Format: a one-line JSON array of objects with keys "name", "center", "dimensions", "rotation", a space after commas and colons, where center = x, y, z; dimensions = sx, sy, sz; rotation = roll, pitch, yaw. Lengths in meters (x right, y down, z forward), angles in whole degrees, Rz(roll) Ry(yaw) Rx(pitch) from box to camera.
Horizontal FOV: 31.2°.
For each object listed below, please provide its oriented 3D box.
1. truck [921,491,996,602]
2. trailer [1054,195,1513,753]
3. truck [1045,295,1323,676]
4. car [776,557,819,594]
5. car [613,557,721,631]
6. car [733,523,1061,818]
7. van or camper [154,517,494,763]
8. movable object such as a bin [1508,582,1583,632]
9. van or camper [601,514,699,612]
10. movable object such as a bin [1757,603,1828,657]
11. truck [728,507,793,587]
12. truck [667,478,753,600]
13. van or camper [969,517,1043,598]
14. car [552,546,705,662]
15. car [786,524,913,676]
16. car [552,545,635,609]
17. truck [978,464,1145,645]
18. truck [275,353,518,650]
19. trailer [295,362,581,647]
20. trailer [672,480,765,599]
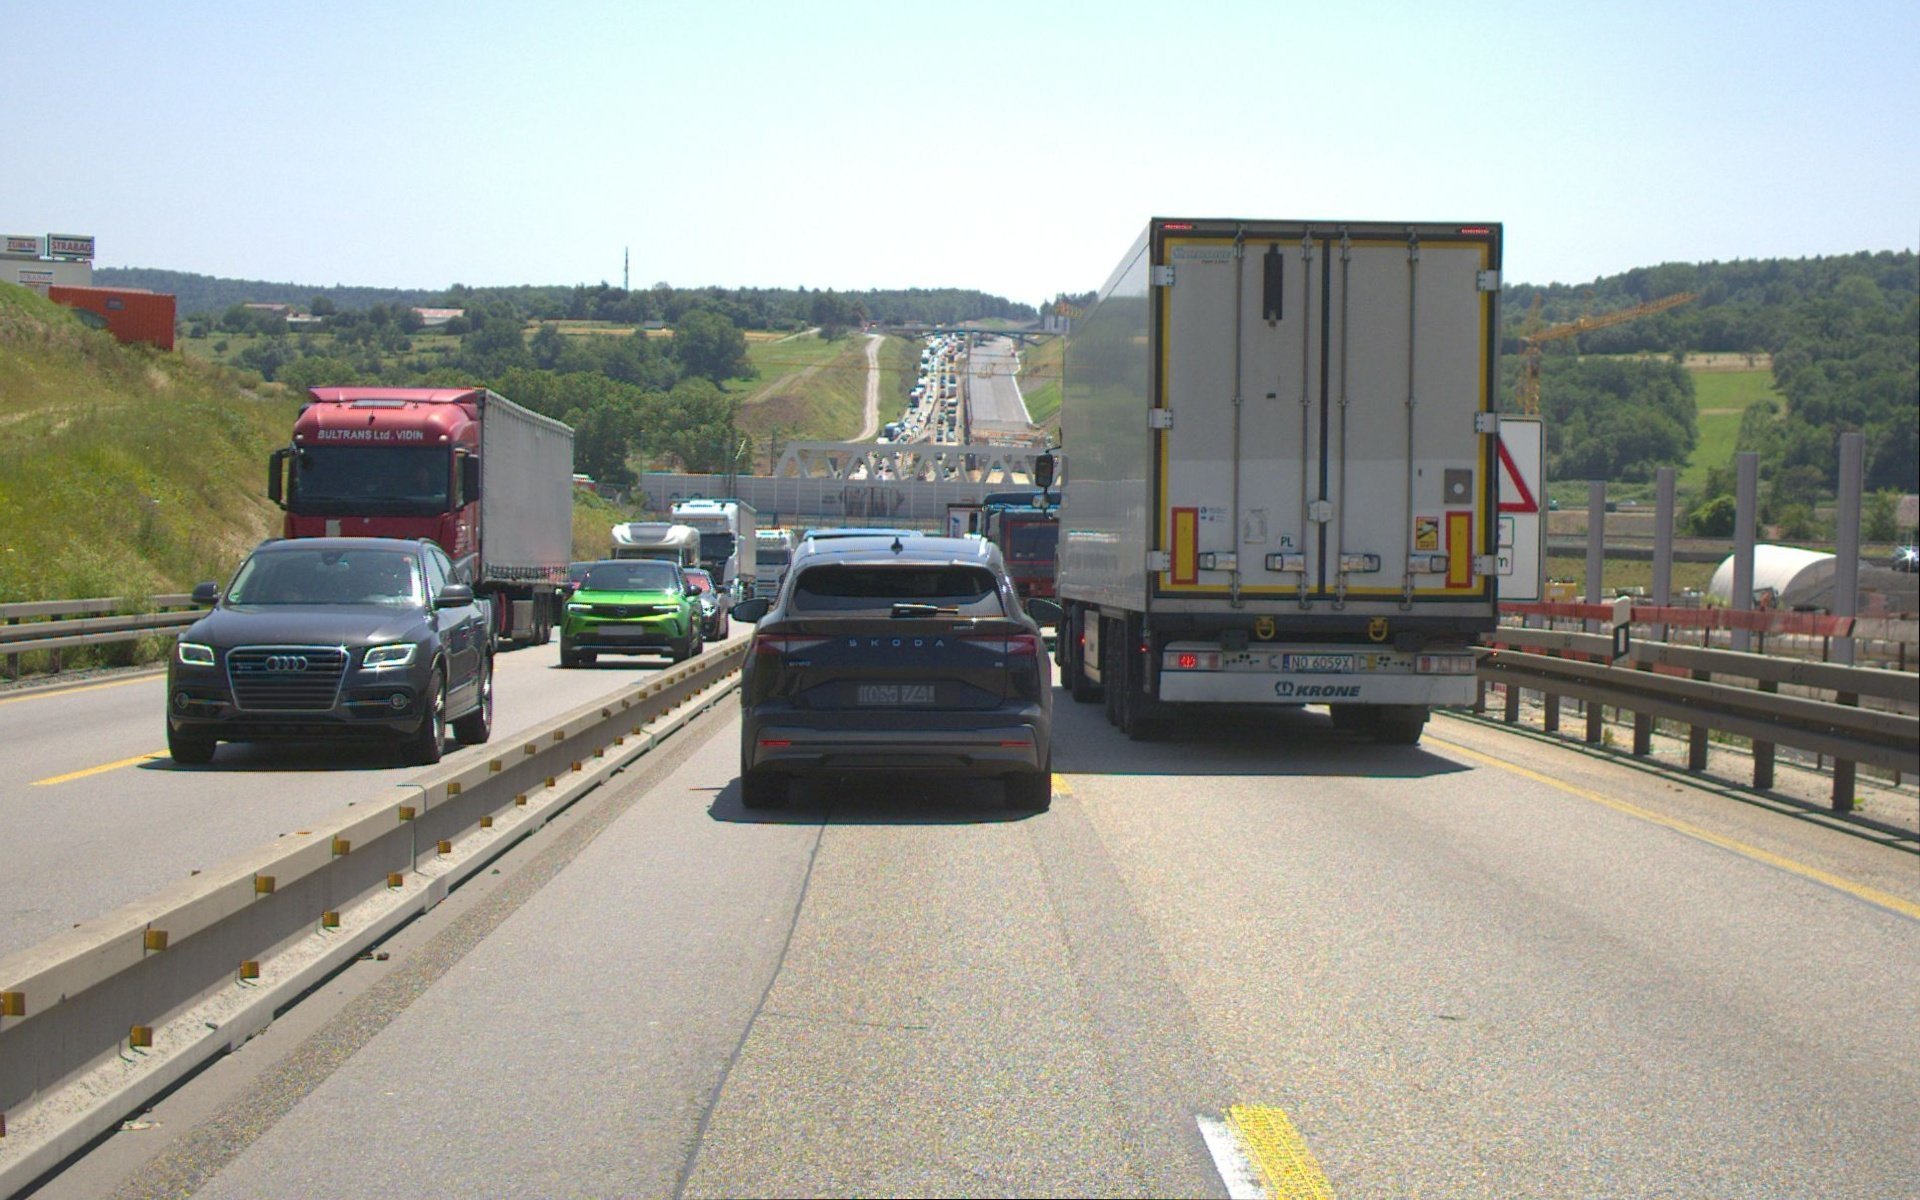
[{"name": "truck", "center": [-0.089, -1.978, 128.705], "dimensions": [2.517, 3.946, 7.600], "rotation": [2, 1, -1]}, {"name": "trailer", "center": [2.547, -0.916, 32.079], "dimensions": [2.801, 4.044, 14.117], "rotation": [0, 0, -1]}, {"name": "truck", "center": [2.454, -1.220, 39.118], "dimensions": [2.776, 4.044, 4.904], "rotation": [0, 0, -1]}, {"name": "car", "center": [-6.585, -0.994, 139.557], "dimensions": [1.628, 1.474, 3.380], "rotation": [1, 1, -1]}, {"name": "car", "center": [-5.608, -0.133, 66.265], "dimensions": [1.767, 1.358, 4.411], "rotation": [1, 1, -1]}, {"name": "car", "center": [-0.371, 0.370, 20.851], "dimensions": [1.800, 1.615, 3.298], "rotation": [1, 1, -1]}, {"name": "van or camper", "center": [-4.621, 0.248, 25.494], "dimensions": [1.828, 1.662, 3.888], "rotation": [1, 1, -1]}, {"name": "movable object such as a bin", "center": [35.169, 0.372, 206.891], "dimensions": [2.887, 2.899, 9.479], "rotation": [1, 0, 0]}, {"name": "van or camper", "center": [-9.126, -1.103, 101.803], "dimensions": [2.334, 2.768, 7.517], "rotation": [0, 1, -1]}, {"name": "movable object such as a bin", "center": [35.396, 1.266, 146.277], "dimensions": [1.993, 2.231, 4.152], "rotation": [1, 0, 0]}, {"name": "truck", "center": [-10.439, -2.774, 180.422], "dimensions": [3.239, 4.146, 4.247], "rotation": [0, 0, -1]}, {"name": "truck", "center": [-8.959, -2.170, 123.659], "dimensions": [2.774, 4.272, 4.677], "rotation": [1, 0, -1]}, {"name": "van or camper", "center": [1.322, -1.234, 100.026], "dimensions": [1.993, 2.237, 4.000], "rotation": [2, 1, 0]}, {"name": "car", "center": [-4.616, 0.027, 48.355], "dimensions": [1.754, 1.503, 4.000], "rotation": [2, 1, -1]}, {"name": "car", "center": [-1.331, -0.024, 42.473], "dimensions": [1.475, 1.789, 3.298], "rotation": [1, 1, -1]}, {"name": "car", "center": [-9.198, -0.588, 86.453], "dimensions": [1.716, 1.546, 4.265], "rotation": [0, 1, -1]}, {"name": "truck", "center": [1.791, -0.806, 66.164], "dimensions": [2.814, 3.124, 12.837], "rotation": [0, 0, 0]}, {"name": "truck", "center": [-8.159, -1.404, 50.276], "dimensions": [2.821, 4.110, 4.599], "rotation": [1, 1, -1]}, {"name": "trailer", "center": [-8.326, -1.482, 56.665], "dimensions": [2.856, 4.110, 13.438], "rotation": [1, 1, -1]}, {"name": "trailer", "center": [-9.110, -2.250, 131.034], "dimensions": [2.810, 4.272, 14.036], "rotation": [1, 1, -1]}]
